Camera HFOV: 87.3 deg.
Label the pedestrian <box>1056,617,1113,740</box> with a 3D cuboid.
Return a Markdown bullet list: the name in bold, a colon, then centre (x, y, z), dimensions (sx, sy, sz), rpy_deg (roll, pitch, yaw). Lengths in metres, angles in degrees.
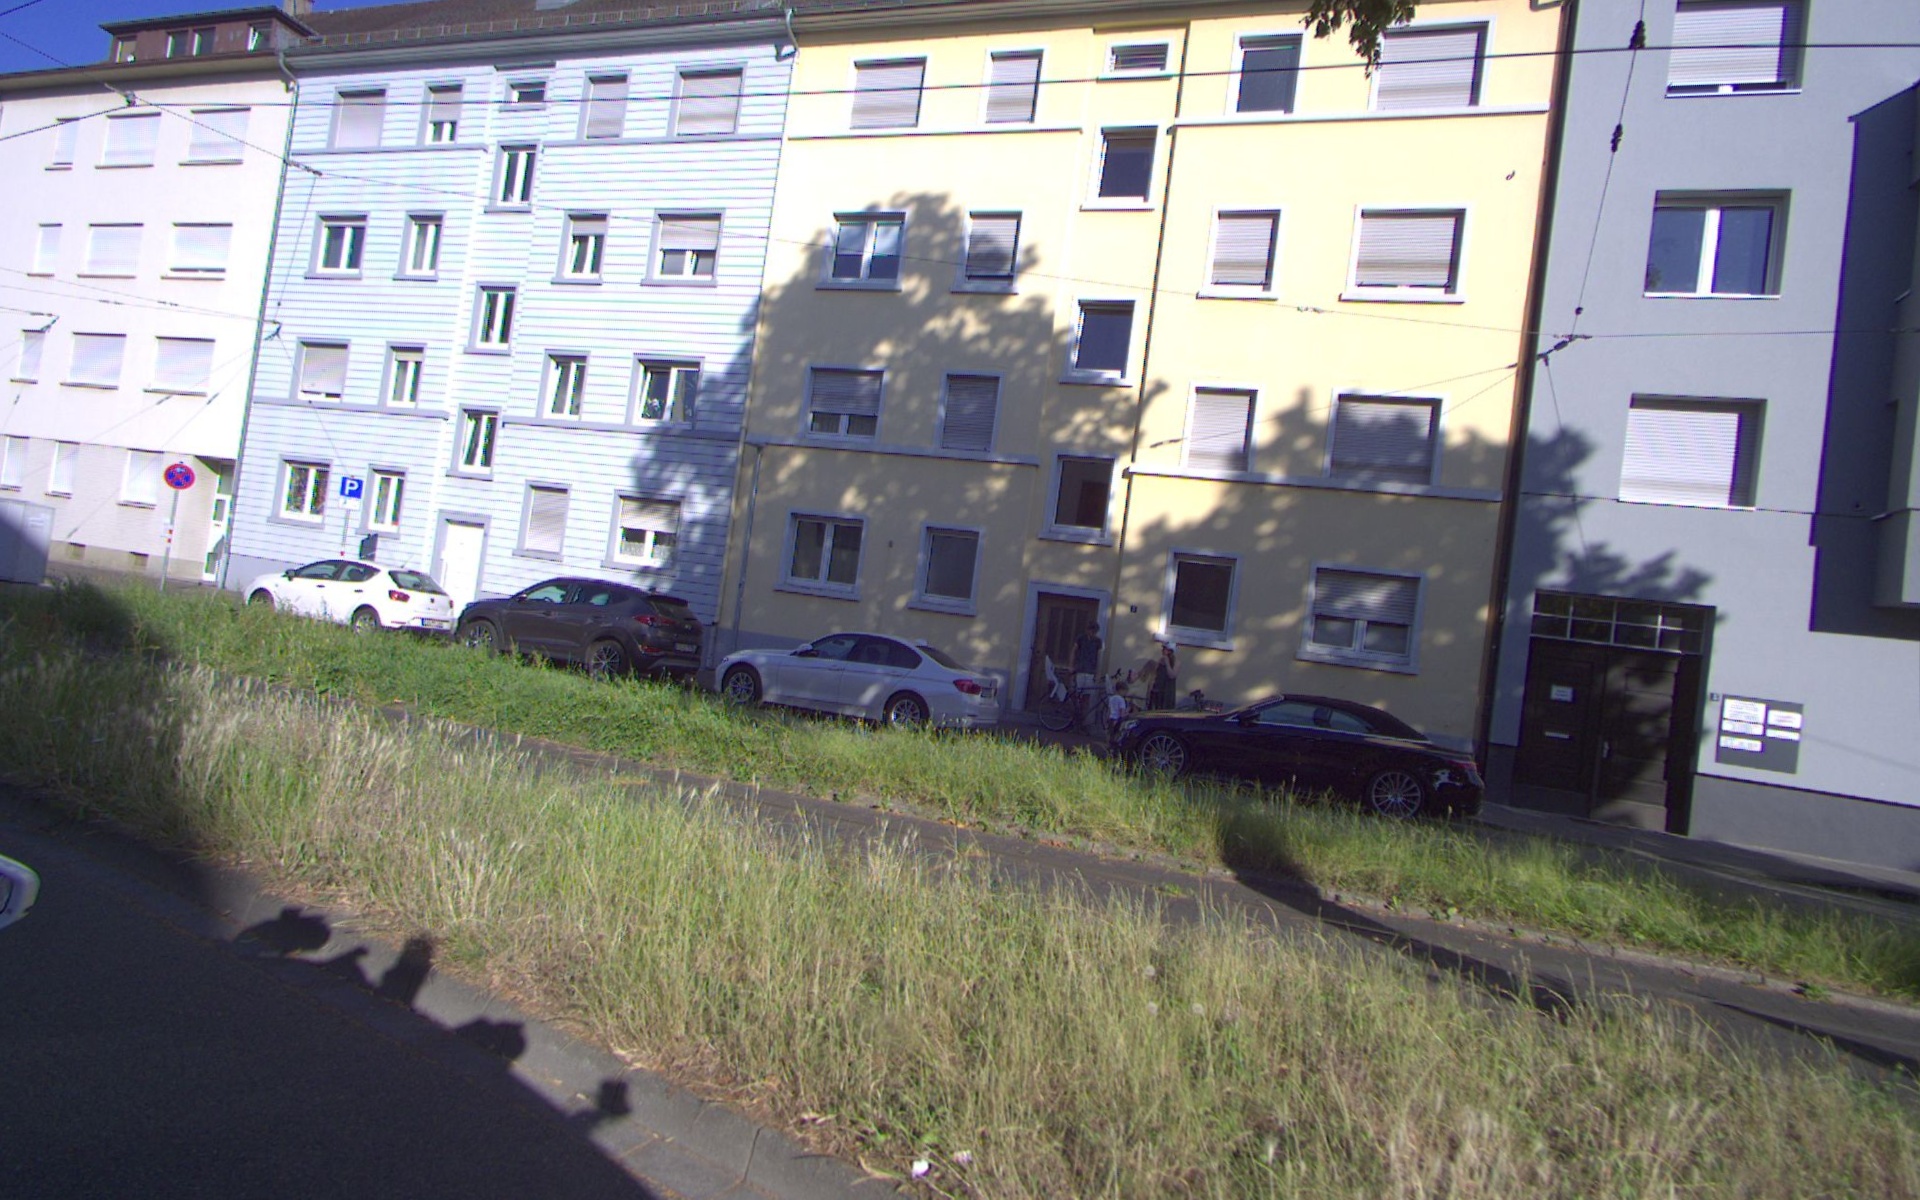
- **pedestrian**: centre (2.190, 1.373, 17.677), dimensions (0.637, 2.037, 0.614), rpy_deg (7, -1, 18)

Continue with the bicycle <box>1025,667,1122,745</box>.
- **bicycle**: centre (1.982, 1.835, 17.553), dimensions (1.487, 1.144, 0.536), rpy_deg (6, -1, 18)

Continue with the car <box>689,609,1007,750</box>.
- **car**: centre (-1.701, 1.184, 15.712), dimensions (4.363, 1.403, 2.002), rpy_deg (8, -1, 18)

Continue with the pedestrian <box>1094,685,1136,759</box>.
- **pedestrian**: centre (2.419, 1.893, 15.715), dimensions (0.452, 1.077, 0.433), rpy_deg (7, -1, 19)

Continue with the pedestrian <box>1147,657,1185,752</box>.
- **pedestrian**: centre (3.465, 1.754, 16.952), dimensions (0.435, 1.533, 0.305), rpy_deg (7, 0, 11)

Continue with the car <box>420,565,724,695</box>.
- **car**: centre (-6.693, 0.514, 17.456), dimensions (4.554, 1.590, 2.002), rpy_deg (7, -1, 18)

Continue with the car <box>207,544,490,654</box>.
- **car**: centre (-11.560, 0.003, 19.111), dimensions (4.362, 1.403, 2.002), rpy_deg (8, -1, 15)

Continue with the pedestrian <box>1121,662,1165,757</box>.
- **pedestrian**: centre (2.984, 1.776, 16.382), dimensions (0.452, 1.457, 0.525), rpy_deg (7, -1, 19)

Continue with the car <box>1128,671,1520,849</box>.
- **car**: centre (4.620, 1.969, 13.259), dimensions (4.363, 1.403, 2.002), rpy_deg (8, -1, 18)

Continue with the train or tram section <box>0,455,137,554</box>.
- **train or tram section**: centre (-41.910, -4.424, 44.484), dimensions (2.734, 3.596, 9.923), rpy_deg (8, -2, -2)

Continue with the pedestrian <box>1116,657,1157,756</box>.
- **pedestrian**: centre (2.864, 1.709, 16.307), dimensions (0.435, 1.533, 0.333), rpy_deg (7, 0, 14)

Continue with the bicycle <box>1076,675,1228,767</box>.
- **bicycle**: centre (3.104, 1.927, 16.291), dimensions (2.265, 1.144, 0.536), rpy_deg (6, -1, 18)
